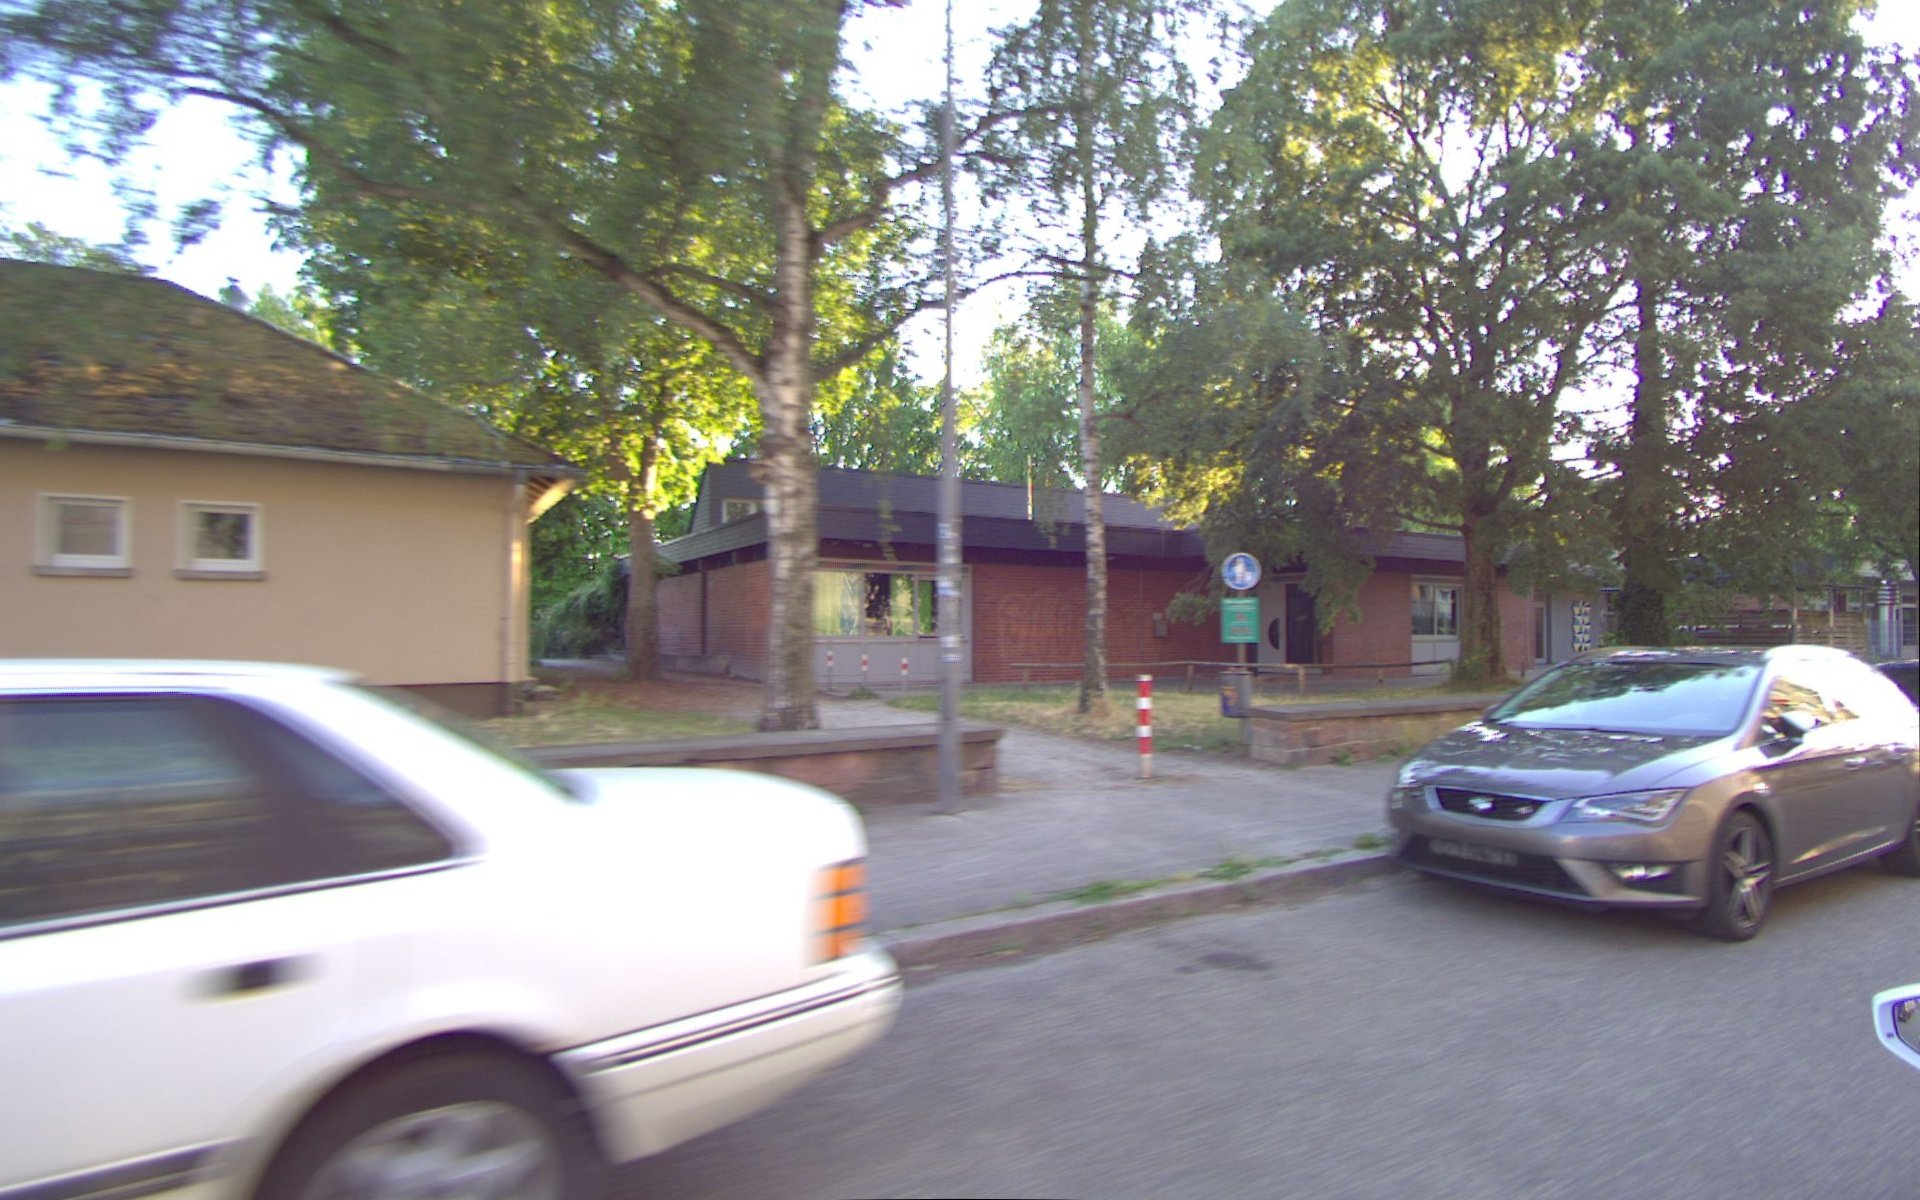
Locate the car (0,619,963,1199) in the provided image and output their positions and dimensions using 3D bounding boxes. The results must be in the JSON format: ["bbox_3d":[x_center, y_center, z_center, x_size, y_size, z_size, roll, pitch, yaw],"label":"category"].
[{"bbox_3d":[-2.451,0.814,2.102,4.695,1.464,1.774,1,-4,-32],"label":"car"}]

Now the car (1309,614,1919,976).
[{"bbox_3d":[4.554,0.926,6.398,4.705,1.558,1.850,1,-3,-32],"label":"car"}]

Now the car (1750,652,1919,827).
[{"bbox_3d":[9.100,1.150,9.113,4.106,1.330,1.651,1,-3,-31],"label":"car"}]
